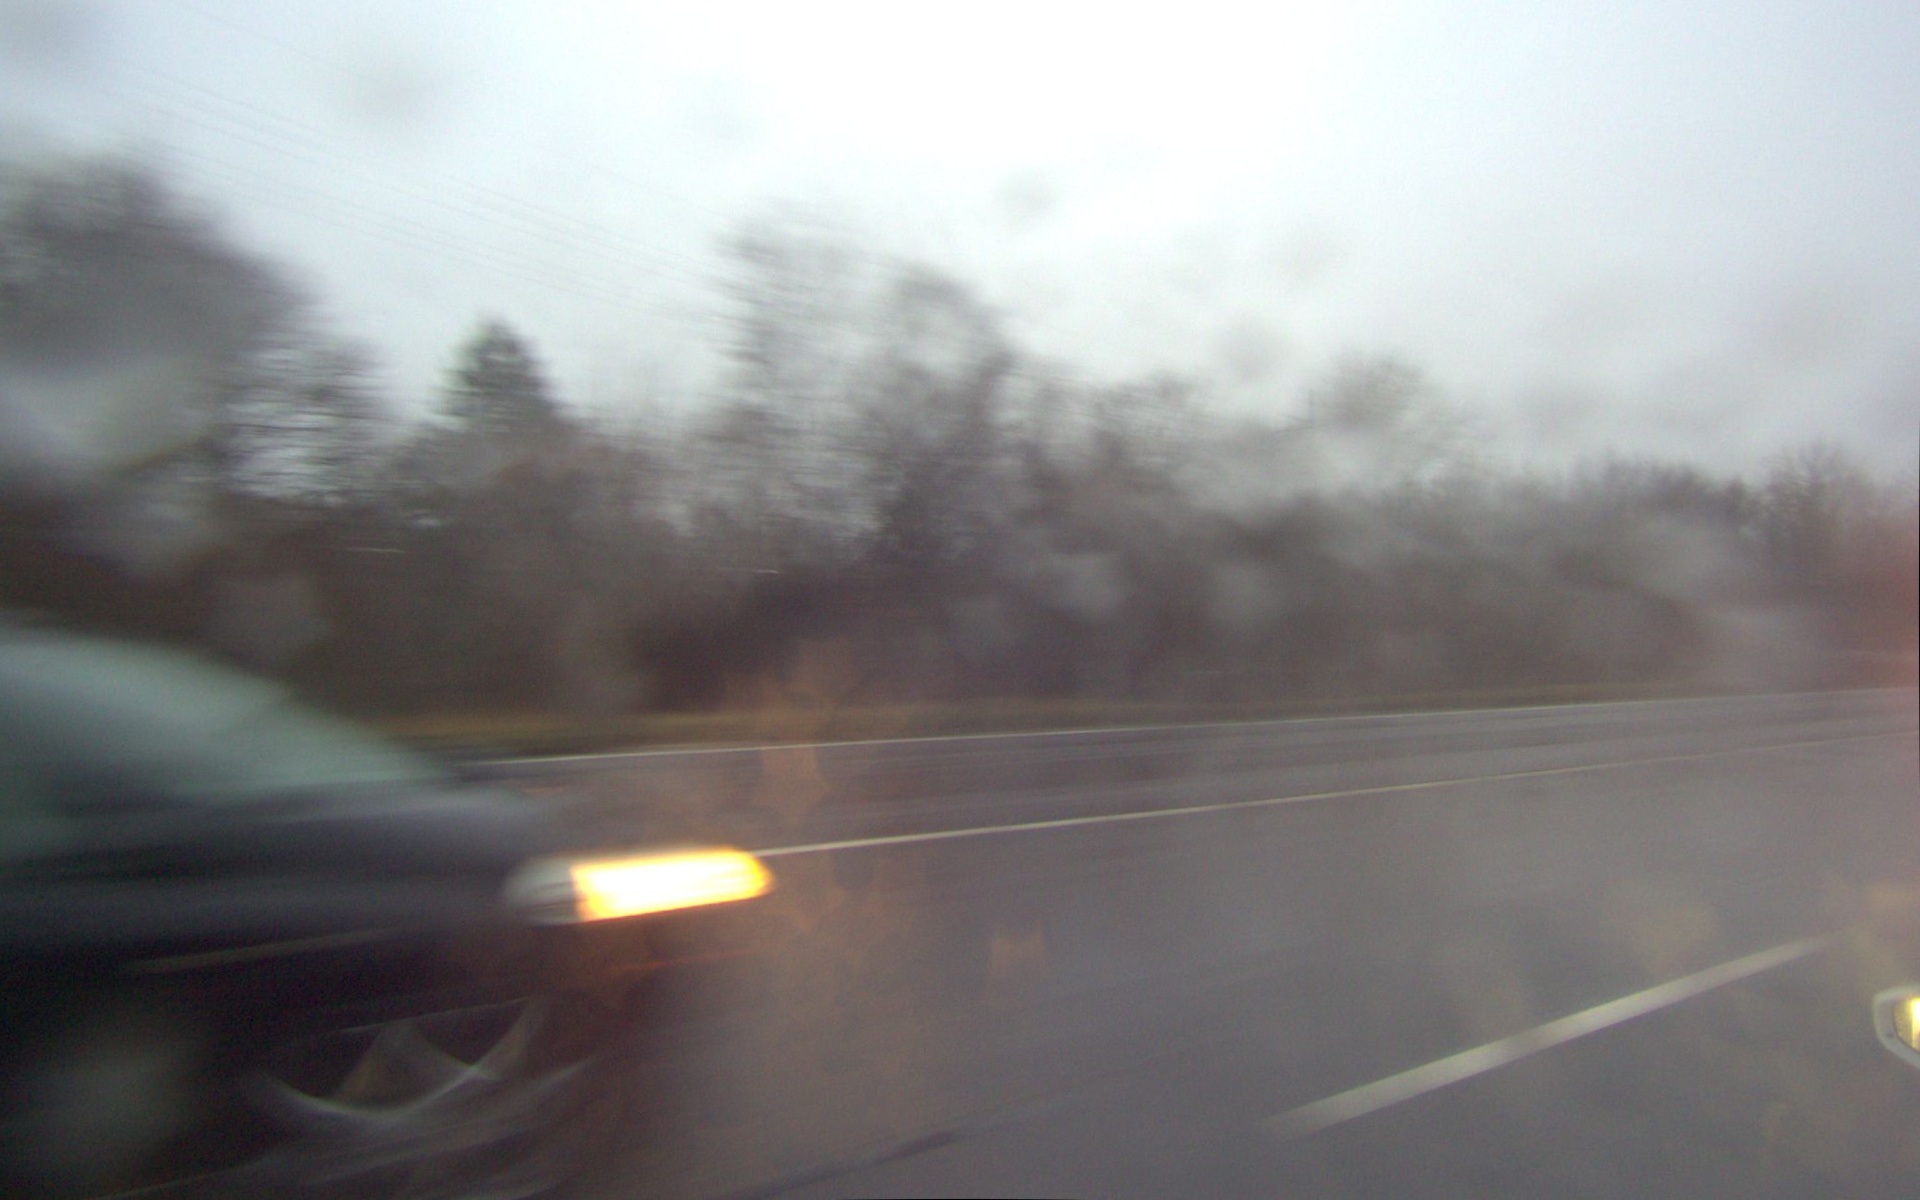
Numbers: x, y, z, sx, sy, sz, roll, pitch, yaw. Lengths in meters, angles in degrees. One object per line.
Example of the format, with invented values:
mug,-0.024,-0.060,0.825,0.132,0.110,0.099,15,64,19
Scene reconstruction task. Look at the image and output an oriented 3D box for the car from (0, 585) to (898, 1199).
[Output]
car,-2.359,0.698,2.411,4.124,1.440,1.623,2,1,-32
